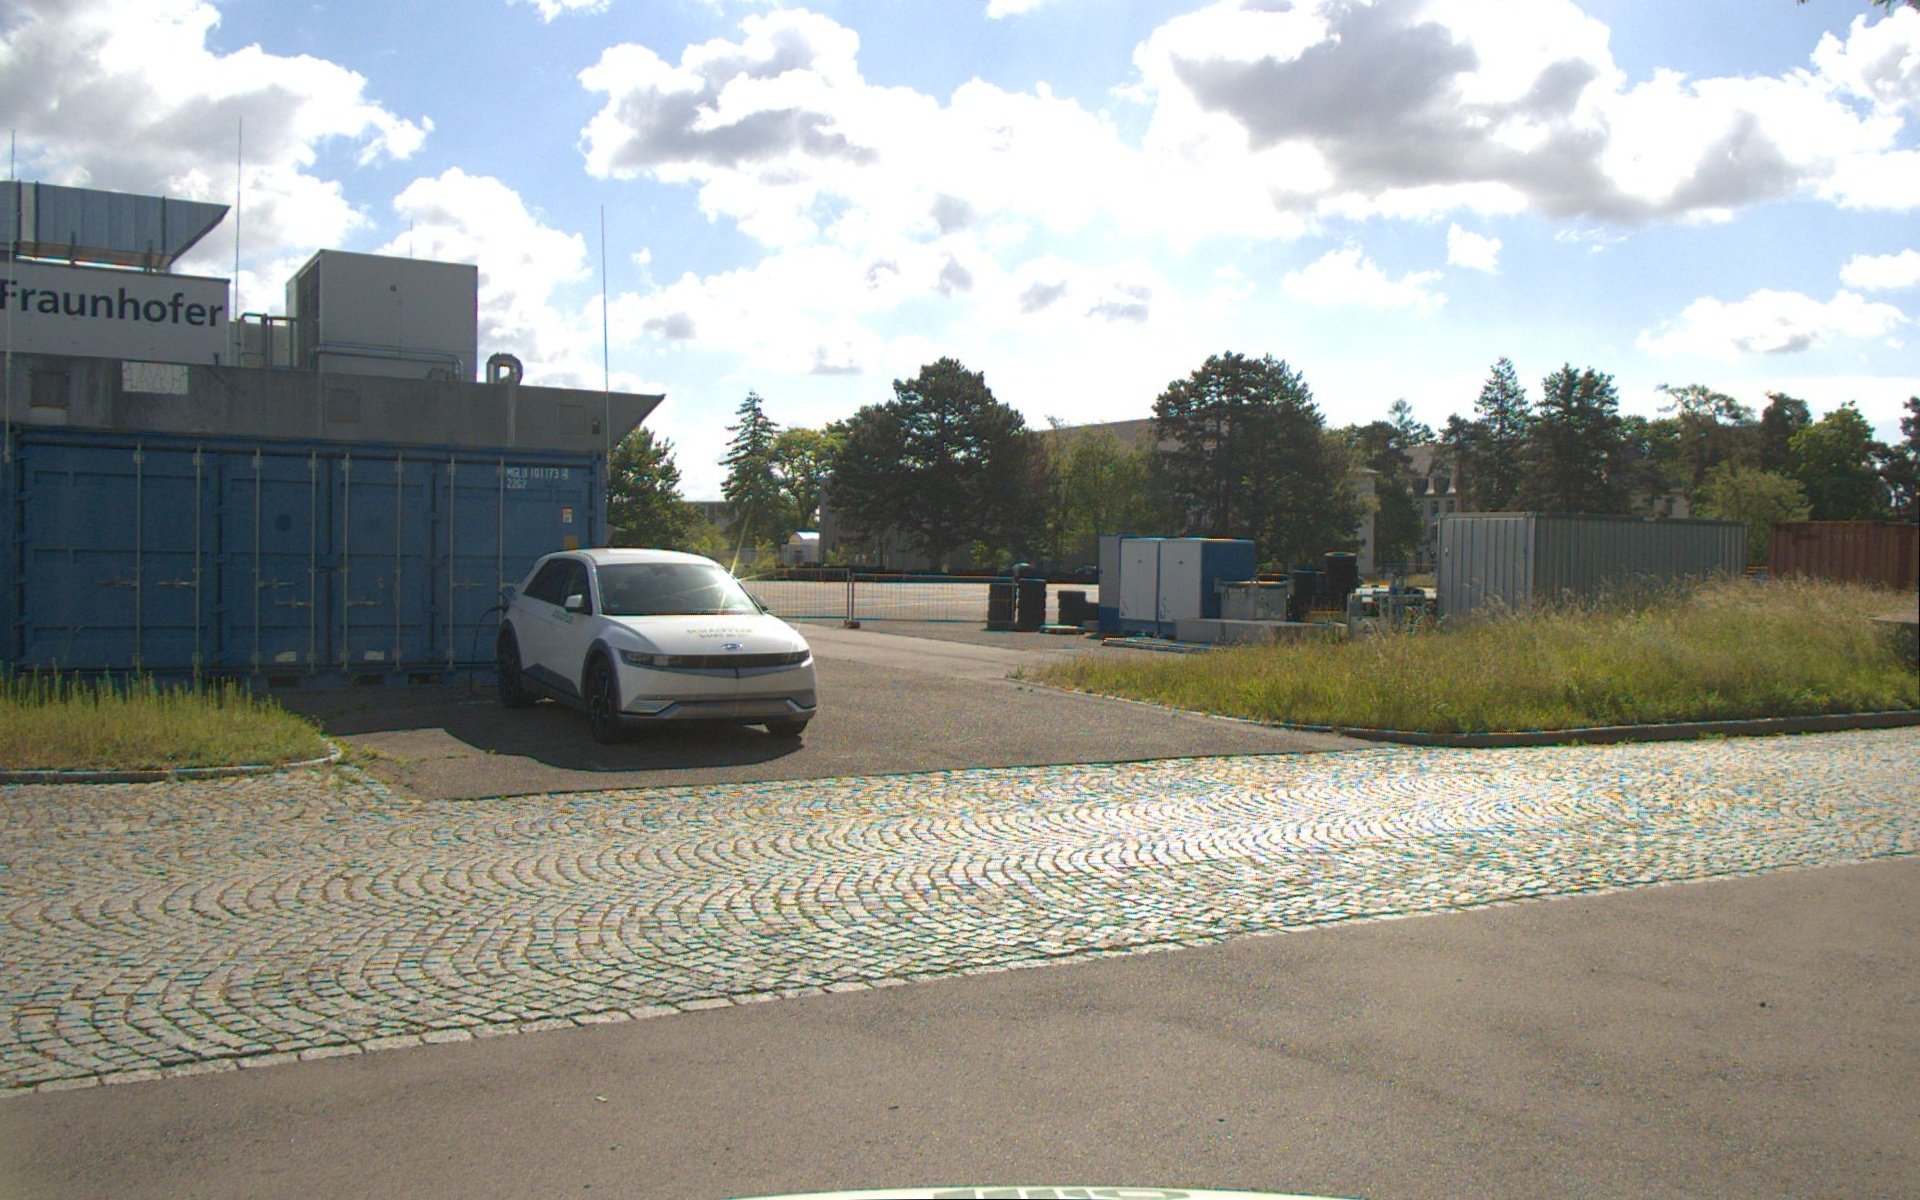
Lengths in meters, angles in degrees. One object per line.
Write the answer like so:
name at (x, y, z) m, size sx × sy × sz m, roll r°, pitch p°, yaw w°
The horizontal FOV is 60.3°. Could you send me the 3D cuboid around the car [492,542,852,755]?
car at (-2.855, 0.323, 15.531) m, size 1.960 × 1.621 × 4.297 m, roll 0°, pitch 3°, yaw -30°
